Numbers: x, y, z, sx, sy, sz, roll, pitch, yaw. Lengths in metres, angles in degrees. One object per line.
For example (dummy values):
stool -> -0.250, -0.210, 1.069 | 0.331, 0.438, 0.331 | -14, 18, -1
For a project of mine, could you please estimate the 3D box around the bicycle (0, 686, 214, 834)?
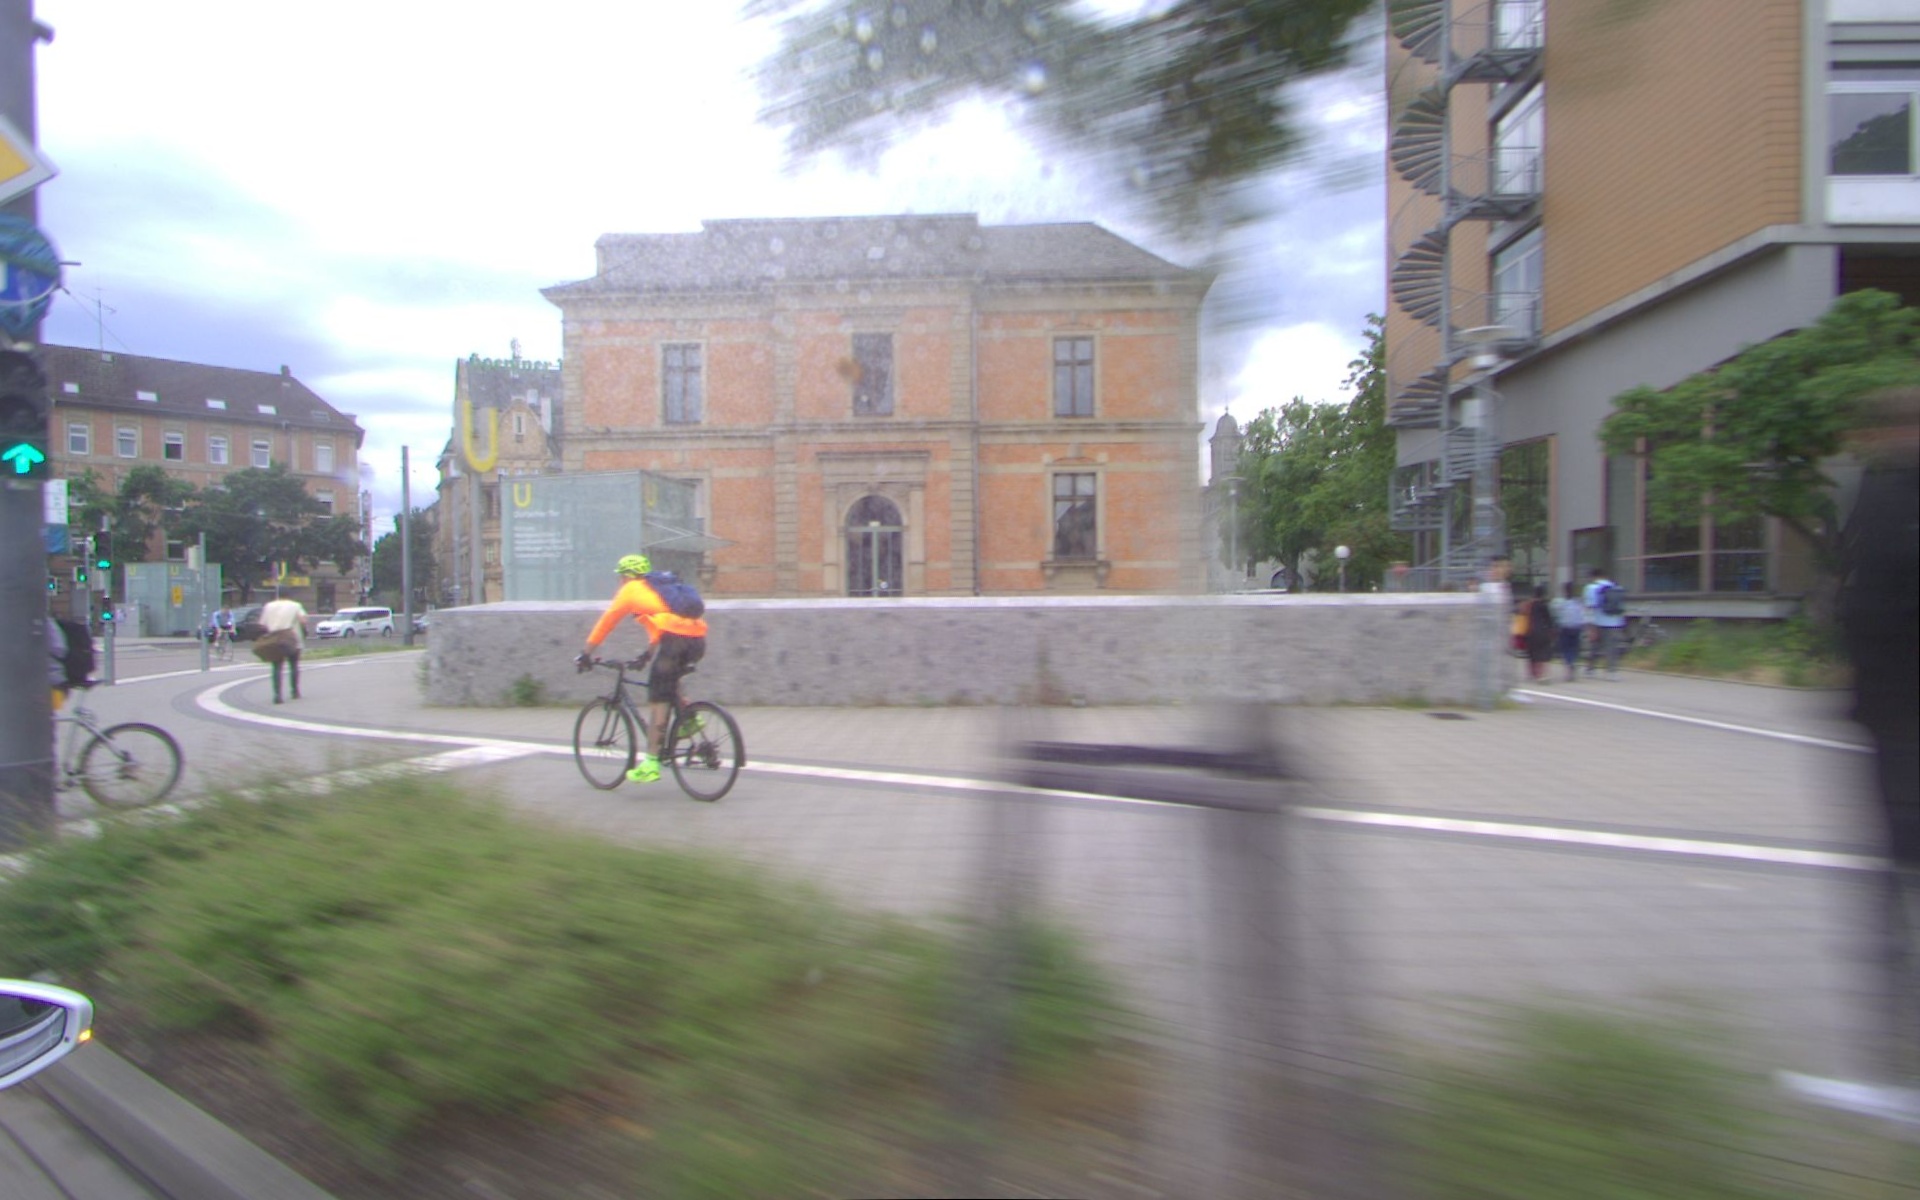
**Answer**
bicycle -> -6.655, 1.153, 7.269 | 0.755, 0.851, 1.818 | 0, 2, 28

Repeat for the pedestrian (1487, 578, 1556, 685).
pedestrian -> 8.919, 0.497, 15.937 | 0.710, 1.653, 0.873 | 0, 0, 9

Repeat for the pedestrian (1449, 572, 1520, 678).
pedestrian -> 8.974, 0.427, 17.149 | 0.710, 1.766, 0.874 | 0, 0, -6

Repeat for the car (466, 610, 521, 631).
car -> -34.103, 1.471, 73.306 | 1.833, 1.417, 3.894 | -2, -1, 6

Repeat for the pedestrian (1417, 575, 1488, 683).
pedestrian -> 8.228, 0.471, 16.742 | 0.710, 1.753, 0.874 | 0, 0, -6

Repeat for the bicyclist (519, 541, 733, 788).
bicyclist -> -2.438, 0.440, 7.332 | 1.301, 1.642, 0.826 | 0, 0, 29

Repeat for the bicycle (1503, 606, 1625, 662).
bicycle -> 12.779, 0.716, 21.200 | 2.335, 1.137, 0.832 | 1, -1, -15

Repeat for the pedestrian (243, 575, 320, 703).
pedestrian -> -10.482, 0.580, 15.516 | 0.875, 1.892, 1.280 | 0, 0, -30

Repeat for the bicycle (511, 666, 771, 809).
bicycle -> -2.359, 0.948, 7.296 | 2.042, 0.859, 0.555 | 0, 0, 29

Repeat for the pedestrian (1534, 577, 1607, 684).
pedestrian -> 9.630, 0.474, 15.830 | 0.710, 1.653, 0.873 | 0, 0, 9

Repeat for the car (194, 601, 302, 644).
car -> -33.738, 1.061, 47.617 | 1.661, 1.925, 4.386 | 0, -1, 7

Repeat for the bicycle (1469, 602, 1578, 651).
bicycle -> 13.338, 0.638, 23.713 | 2.335, 1.137, 0.832 | 1, -1, -15

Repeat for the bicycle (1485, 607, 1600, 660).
bicycle -> 13.024, 0.752, 22.392 | 2.335, 1.137, 0.832 | 1, -1, -15

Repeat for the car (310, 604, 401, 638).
car -> -35.780, 1.217, 59.430 | 1.833, 1.941, 5.100 | 0, -1, 8

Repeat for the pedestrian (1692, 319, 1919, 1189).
pedestrian -> 2.505, 0.348, 2.498 | 0.710, 1.953, 0.874 | 0, 0, -1

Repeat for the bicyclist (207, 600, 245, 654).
bicyclist -> -22.458, 0.821, 30.647 | 0.681, 1.582, 0.923 | -2, 2, -23

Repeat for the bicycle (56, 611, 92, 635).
bicycle -> -53.872, 1.404, 60.931 | 0.947, 1.371, 3.106 | 1, -2, -29

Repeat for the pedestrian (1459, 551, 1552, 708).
pedestrian -> 6.591, 0.354, 12.136 | 0.823, 1.829, 0.703 | 0, 0, 13

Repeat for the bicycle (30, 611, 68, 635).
bicycle -> -54.811, 1.380, 60.263 | 0.947, 1.371, 3.106 | 1, -2, -29

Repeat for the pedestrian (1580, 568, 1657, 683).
pedestrian -> 10.348, 0.390, 15.766 | 0.710, 1.760, 0.873 | 0, 0, 9

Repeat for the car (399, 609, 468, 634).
car -> -34.760, 1.389, 66.229 | 1.833, 1.554, 4.301 | -2, -1, 8

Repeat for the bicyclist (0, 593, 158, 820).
bicyclist -> -6.668, 0.726, 7.279 | 0.748, 1.541, 1.096 | 0, 0, 28

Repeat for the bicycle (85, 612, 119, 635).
bicycle -> -52.826, 1.431, 61.700 | 0.947, 1.371, 3.106 | 1, -2, -29

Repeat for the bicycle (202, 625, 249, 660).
bicycle -> -22.464, 1.288, 30.647 | 0.661, 0.946, 1.853 | -3, 2, -22
